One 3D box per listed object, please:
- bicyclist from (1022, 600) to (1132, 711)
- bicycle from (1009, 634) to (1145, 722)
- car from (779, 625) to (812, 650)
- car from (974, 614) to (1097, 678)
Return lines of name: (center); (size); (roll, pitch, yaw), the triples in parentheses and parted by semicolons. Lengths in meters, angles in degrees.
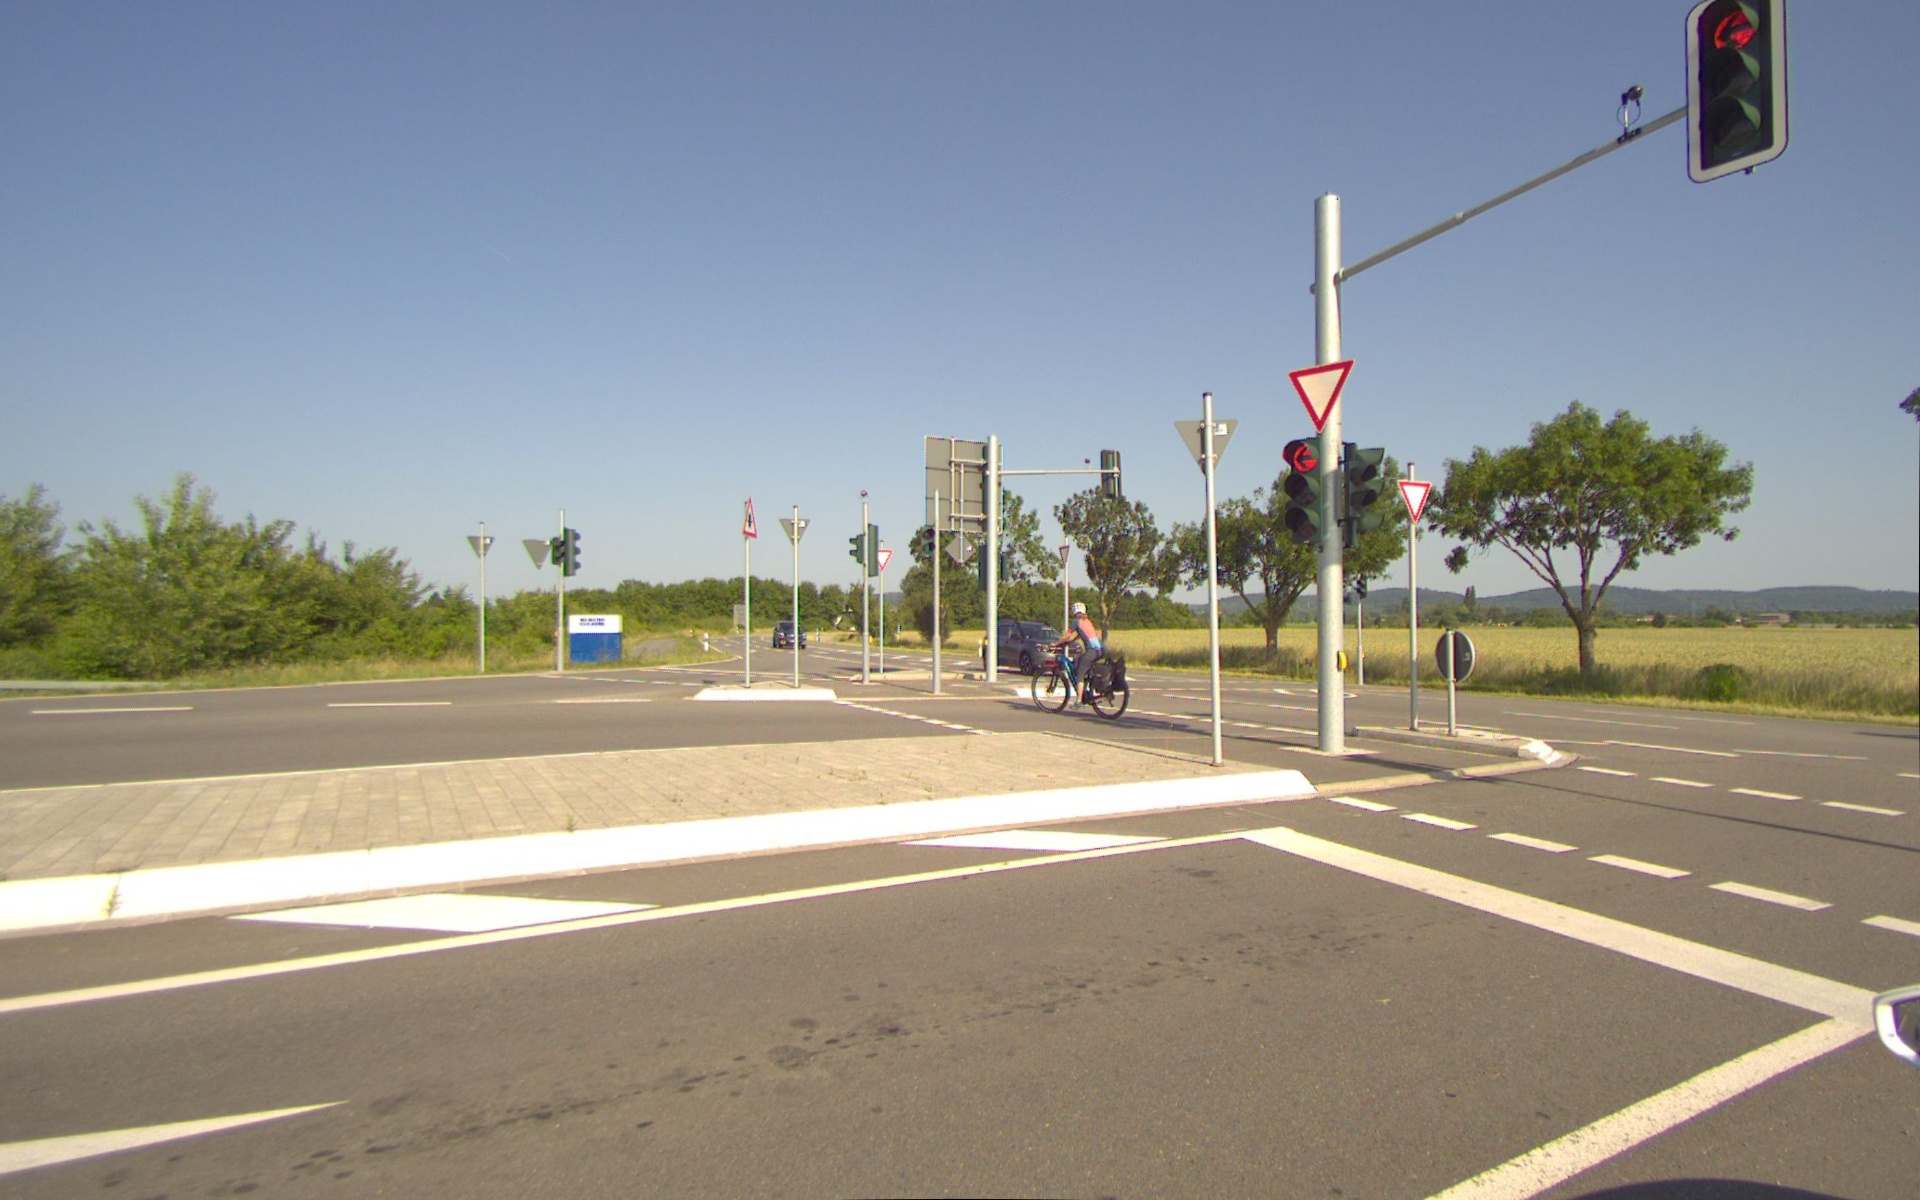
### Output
bicyclist: (1.797, 0.809, 15.530); (1.153, 1.623, 1.271); (0, 0, -34)
bicycle: (1.768, 1.171, 15.539); (0.881, 1.202, 2.142); (2, -1, -34)
car: (-10.941, 2.492, 66.479); (1.740, 1.578, 3.843); (2, -3, -15)
car: (2.269, 1.385, 31.624); (1.972, 1.746, 4.593); (2, 0, -23)
